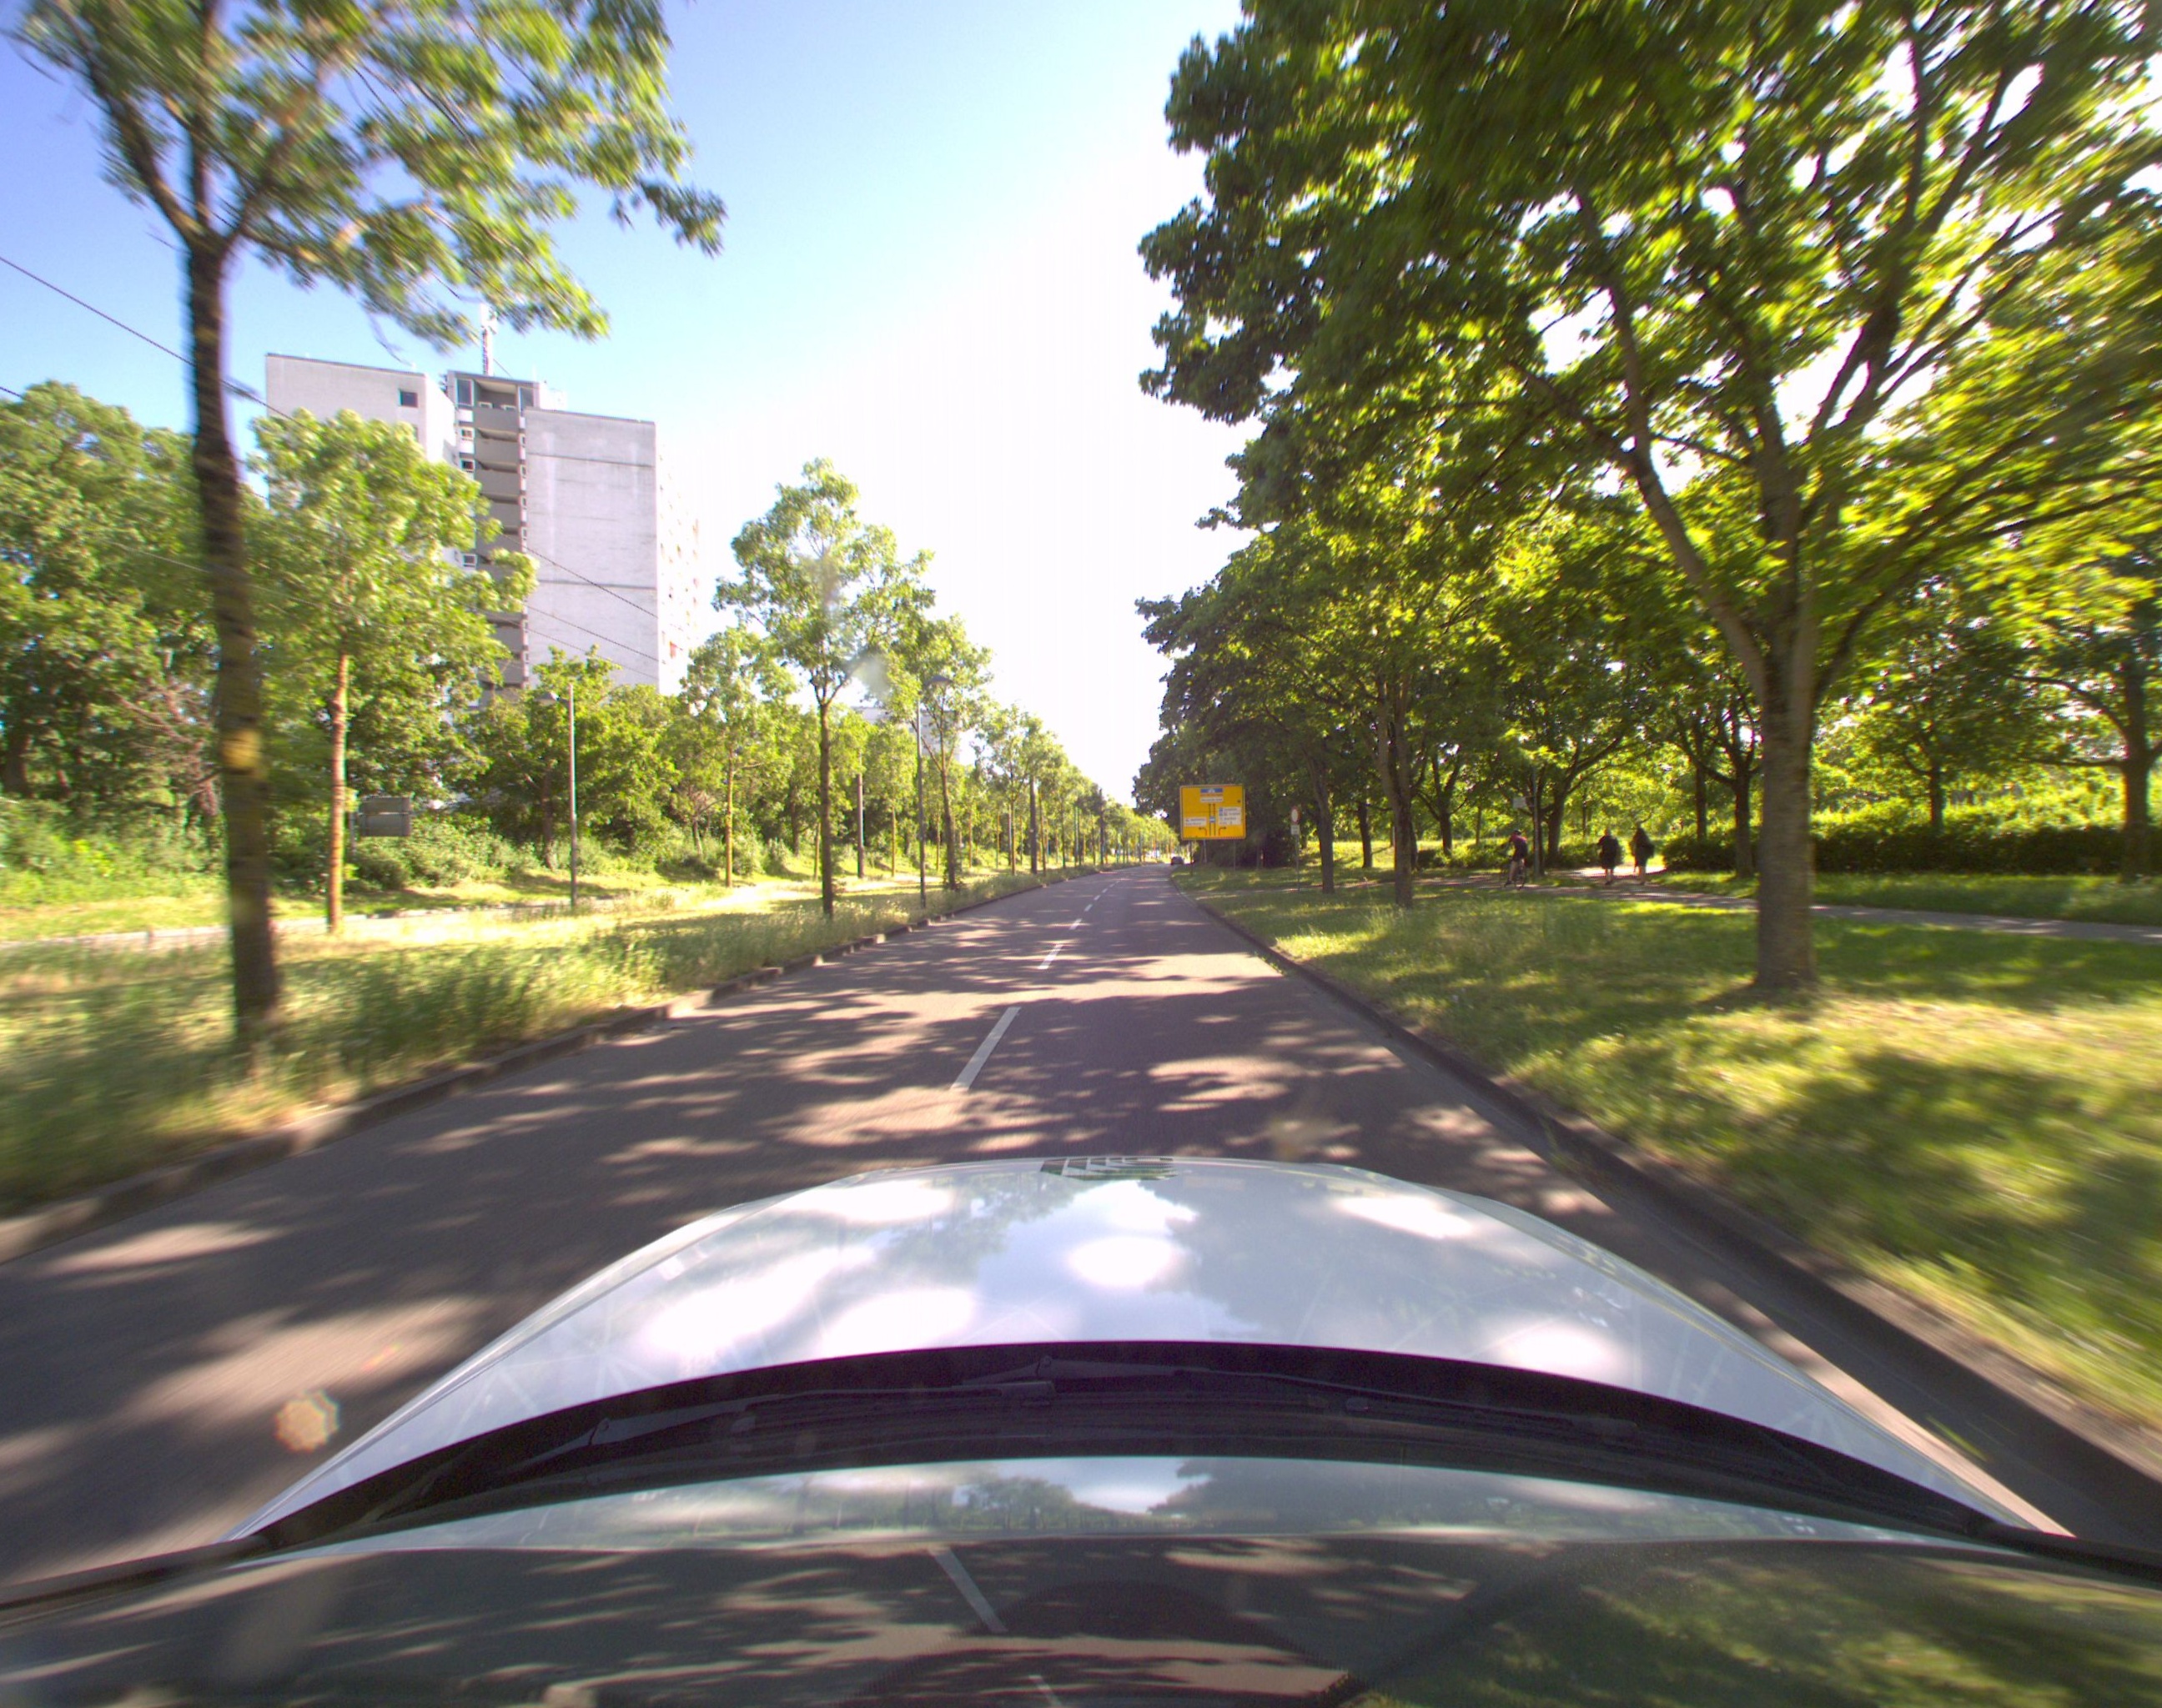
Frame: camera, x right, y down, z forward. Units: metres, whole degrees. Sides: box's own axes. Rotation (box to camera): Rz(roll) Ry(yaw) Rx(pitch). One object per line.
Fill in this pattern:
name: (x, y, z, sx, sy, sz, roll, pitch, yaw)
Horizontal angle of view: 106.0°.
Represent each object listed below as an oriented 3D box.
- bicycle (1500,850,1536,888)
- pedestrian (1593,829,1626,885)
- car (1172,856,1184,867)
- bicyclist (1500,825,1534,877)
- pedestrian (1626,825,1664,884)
bicycle: (12.701, 0.412, 23.716, 0.787, 1.047, 2.155, -2, 0, 26)
pedestrian: (15.983, 0.089, 24.623, 0.543, 1.622, 0.847, -2, -1, 14)
car: (14.139, 1.088, 118.410, 1.625, 1.498, 4.243, -1, 0, 7)
bicyclist: (12.664, -0.082, 23.676, 0.782, 1.450, 0.850, -2, -1, 26)
pedestrian: (16.689, 0.018, 24.112, 0.631, 1.692, 0.847, -2, -1, 13)
